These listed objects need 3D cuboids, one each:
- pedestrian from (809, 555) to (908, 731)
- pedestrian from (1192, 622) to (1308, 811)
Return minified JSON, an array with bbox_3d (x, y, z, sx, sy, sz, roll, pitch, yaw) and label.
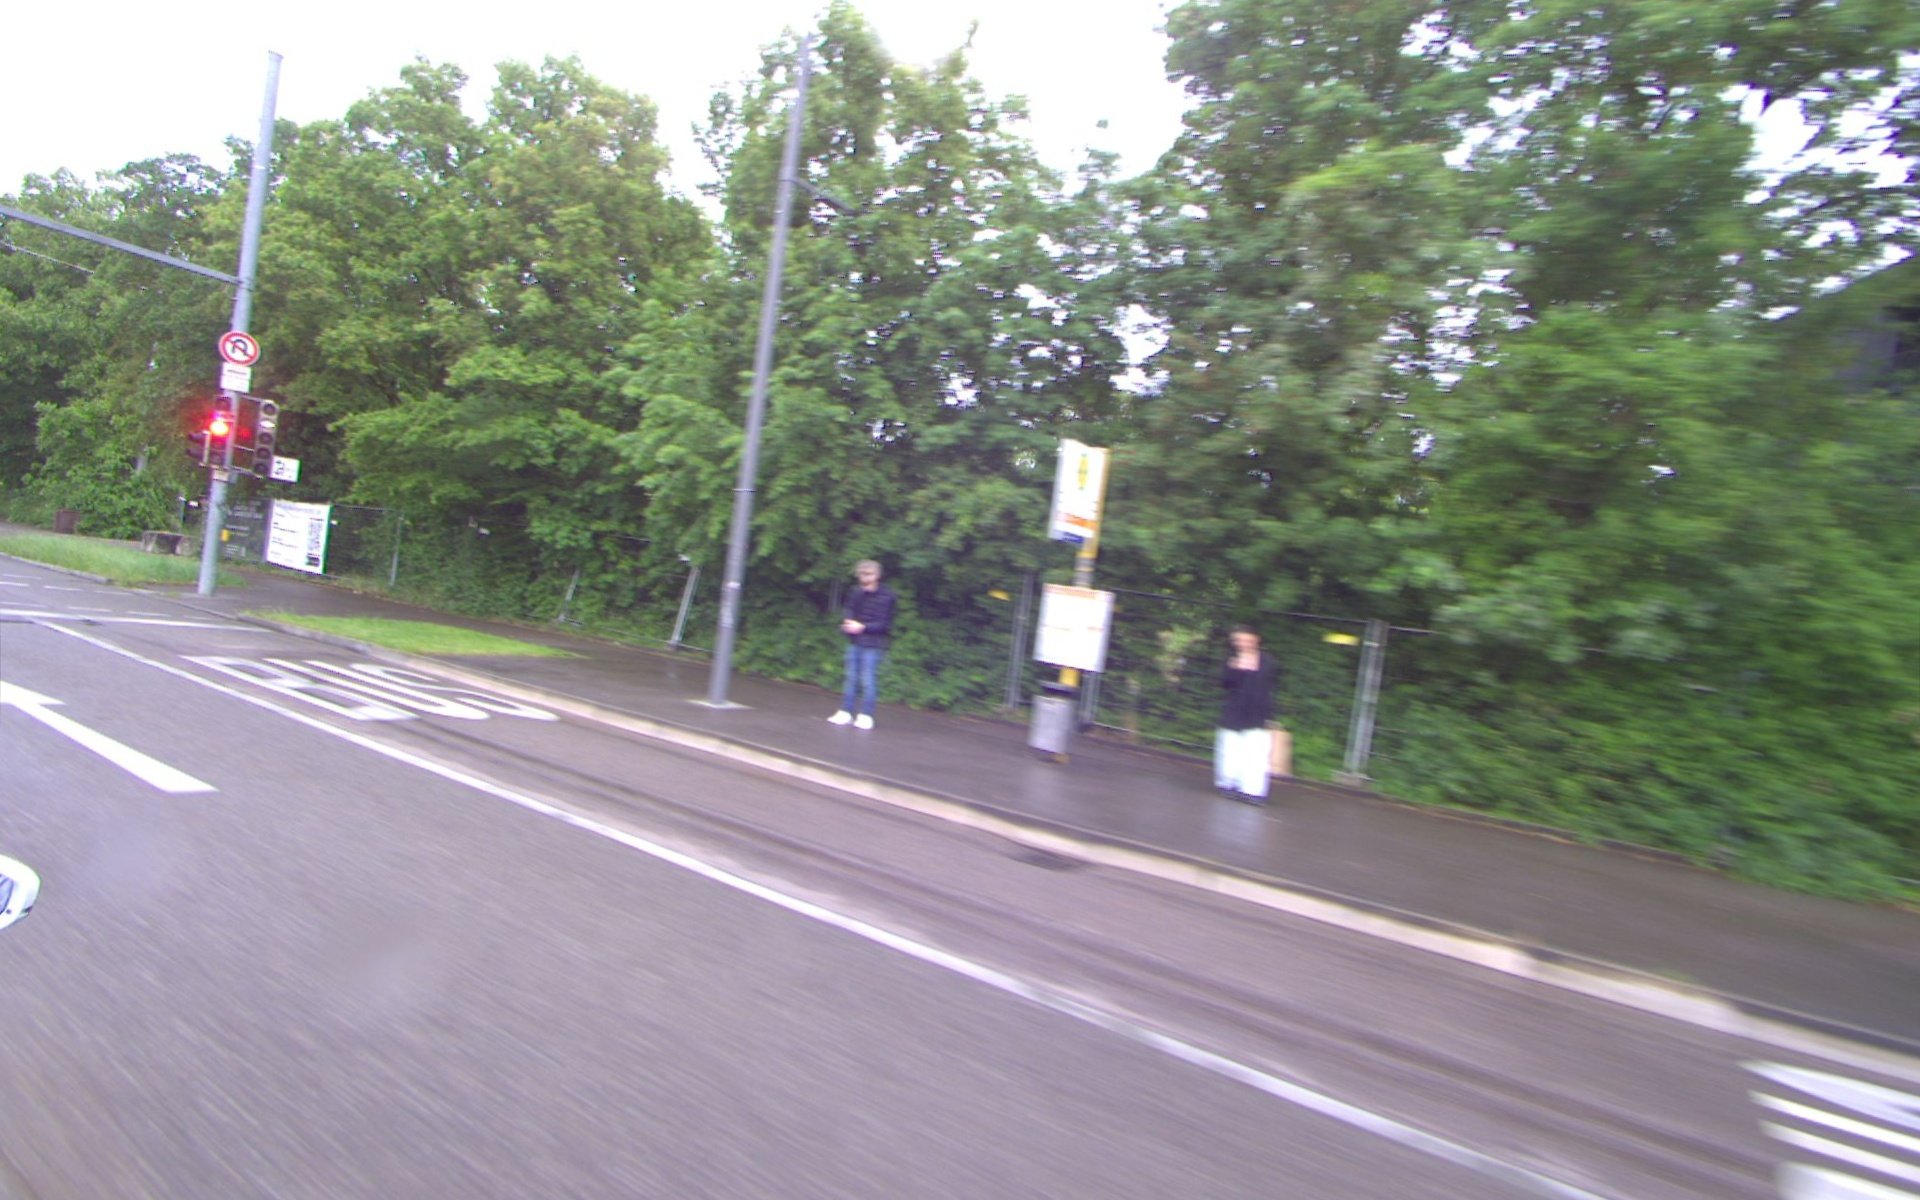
[{"bbox_3d":[-1.181,0.498,11.769,0.706,1.925,0.641,7,1,28],"label":"pedestrian"},{"bbox_3d":[2.844,1.111,9.835,0.779,1.679,0.677,7,1,28],"label":"pedestrian"}]
